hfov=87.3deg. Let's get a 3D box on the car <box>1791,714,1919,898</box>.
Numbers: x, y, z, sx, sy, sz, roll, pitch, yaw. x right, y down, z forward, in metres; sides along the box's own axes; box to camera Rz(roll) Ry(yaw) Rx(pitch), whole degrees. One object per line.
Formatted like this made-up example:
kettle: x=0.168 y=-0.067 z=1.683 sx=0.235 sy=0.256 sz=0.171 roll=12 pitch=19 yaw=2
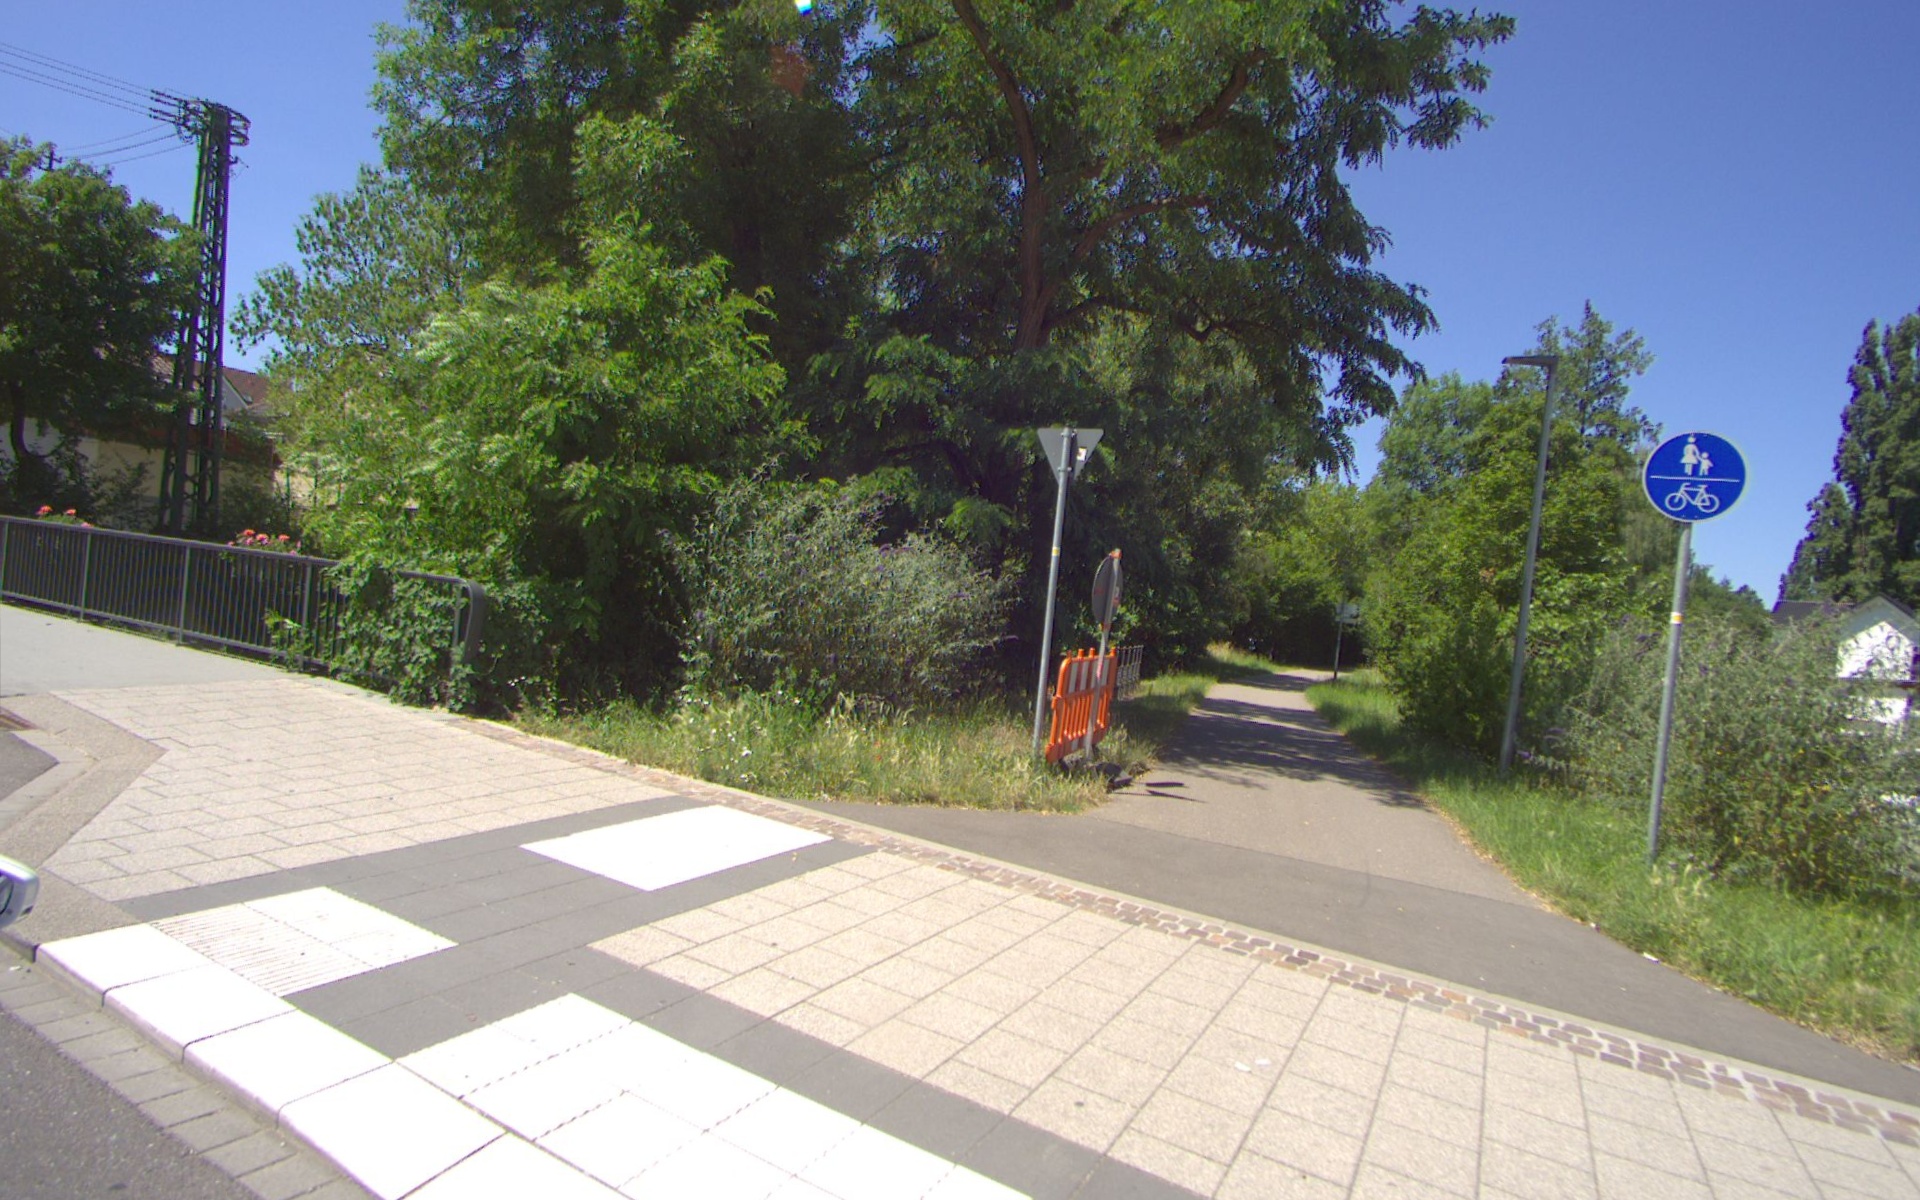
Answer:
car: x=8.511 y=1.811 z=7.475 sx=1.825 sy=1.366 sz=4.206 roll=9 pitch=0 yaw=15
